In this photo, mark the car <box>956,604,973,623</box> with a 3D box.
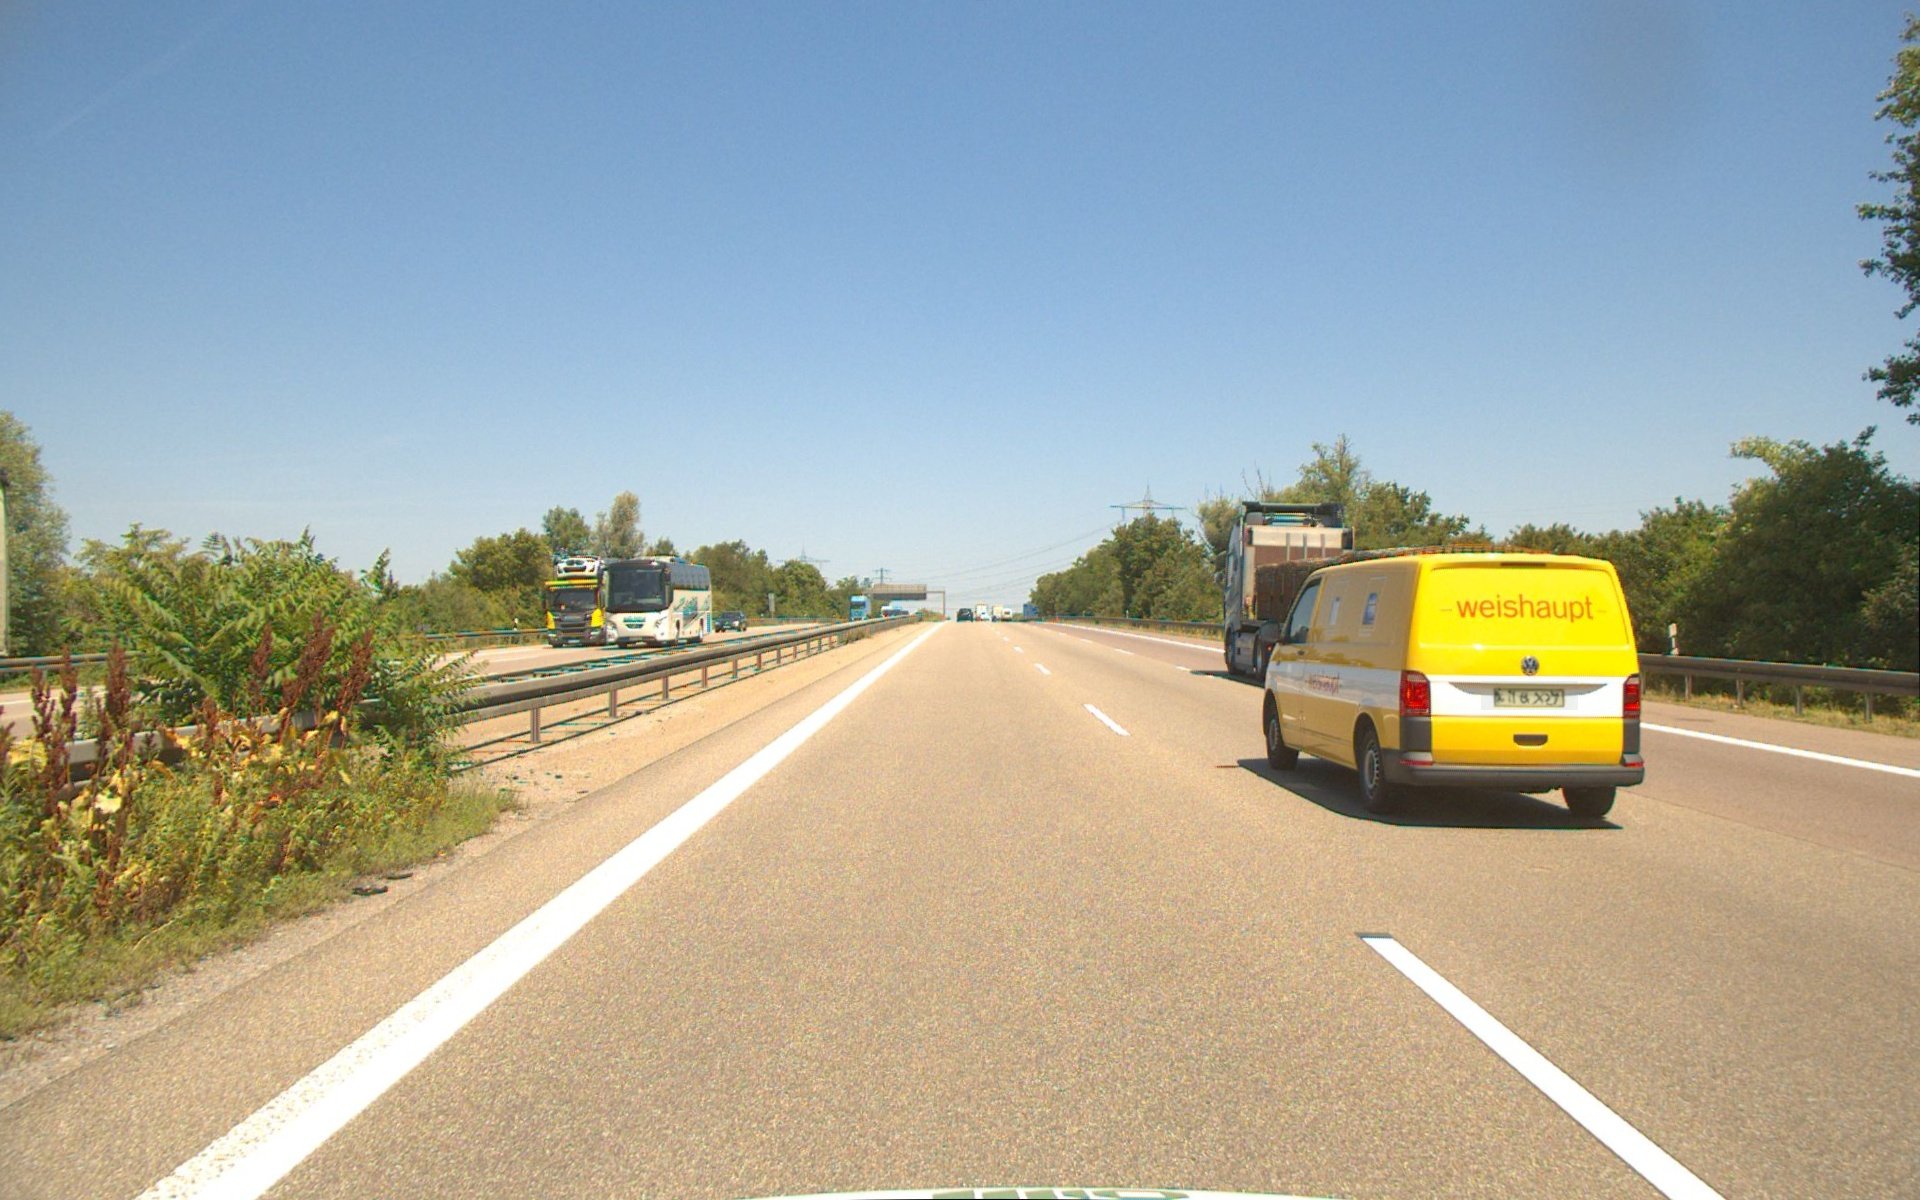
[{"bbox_3d":[0.505,1.473,178.174,1.754,2.049,3.887,1,-1,0],"label":"car"}]

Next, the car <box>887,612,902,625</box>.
[{"bbox_3d":[-9.140,2.565,231.382,1.953,1.719,4.408,-1,0,0],"label":"car"}]

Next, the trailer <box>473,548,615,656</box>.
[{"bbox_3d":[-17.079,0.094,68.933,2.862,4.037,11.650,-2,0,0],"label":"trailer"}]

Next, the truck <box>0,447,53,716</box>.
[{"bbox_3d":[-17.172,-0.319,19.924,2.895,4.418,17.468,-1,0,0],"label":"truck"}]

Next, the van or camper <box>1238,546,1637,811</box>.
[{"bbox_3d":[3.982,0.592,14.808,1.953,1.942,4.969,1,0,-2],"label":"van or camper"}]

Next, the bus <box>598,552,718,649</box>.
[{"bbox_3d":[-12.617,0.009,70.435,2.639,3.646,12.792,-2,0,0],"label":"bus"}]

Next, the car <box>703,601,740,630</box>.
[{"bbox_3d":[-17.100,1.101,118.844,1.953,1.904,4.580,-4,0,-1],"label":"car"}]

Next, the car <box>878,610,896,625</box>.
[{"bbox_3d":[-9.290,2.199,210.229,1.954,1.632,4.599,-7,0,0],"label":"car"}]

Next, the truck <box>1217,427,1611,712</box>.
[{"bbox_3d":[7.788,-0.334,31.960,2.909,4.026,16.610,1,-1,0],"label":"truck"}]

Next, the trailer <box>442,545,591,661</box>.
[{"bbox_3d":[-17.068,0.114,64.492,2.862,4.037,10.535,-2,0,0],"label":"trailer"}]
